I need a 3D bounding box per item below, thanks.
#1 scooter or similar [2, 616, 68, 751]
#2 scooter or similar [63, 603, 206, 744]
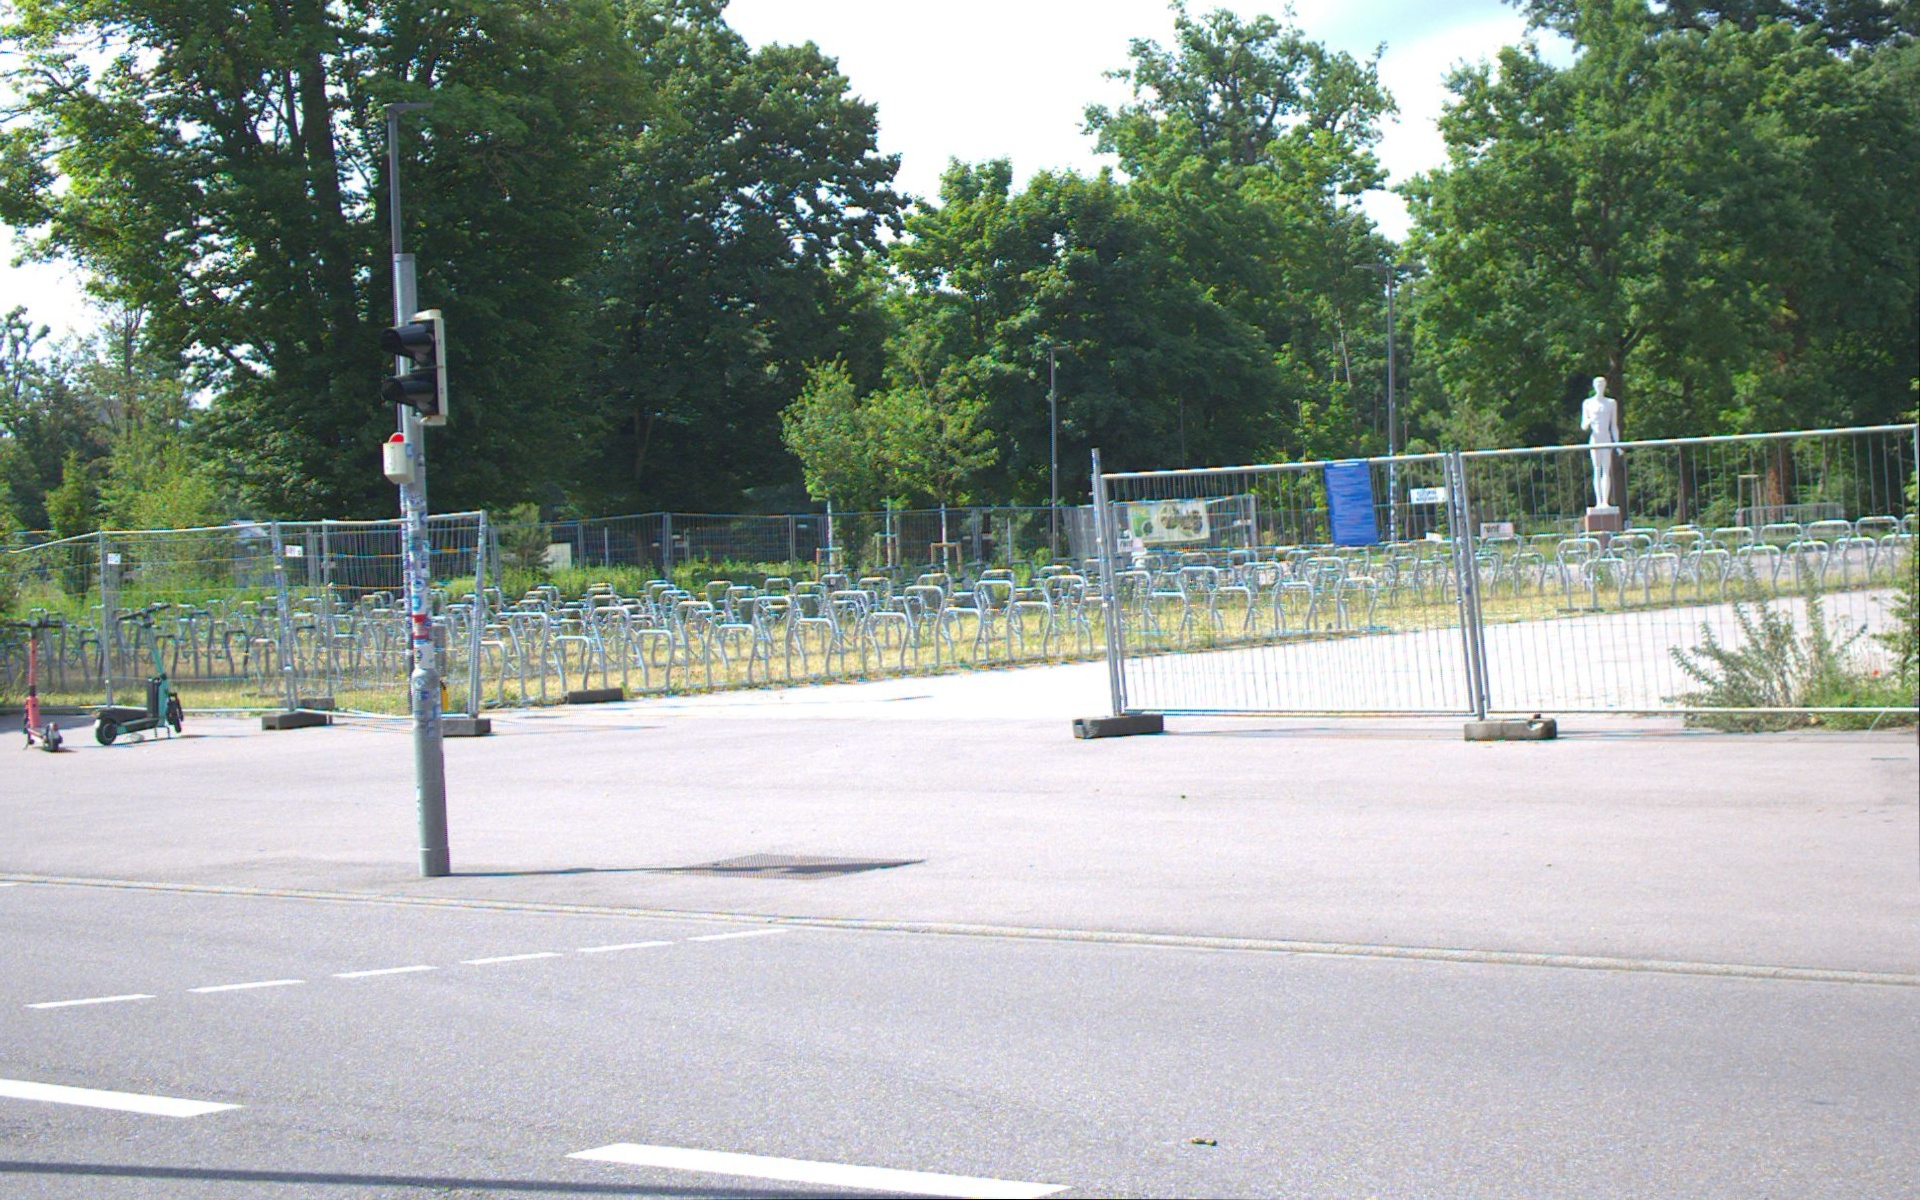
[{"bbox_3d":[-8.569,0.764,31.826,0.406,1.196,1.312,-3,1,-20],"label":"scooter or similar"},{"bbox_3d":[-7.792,0.685,32.484,0.407,1.247,1.309,-2,1,35],"label":"scooter or similar"}]
